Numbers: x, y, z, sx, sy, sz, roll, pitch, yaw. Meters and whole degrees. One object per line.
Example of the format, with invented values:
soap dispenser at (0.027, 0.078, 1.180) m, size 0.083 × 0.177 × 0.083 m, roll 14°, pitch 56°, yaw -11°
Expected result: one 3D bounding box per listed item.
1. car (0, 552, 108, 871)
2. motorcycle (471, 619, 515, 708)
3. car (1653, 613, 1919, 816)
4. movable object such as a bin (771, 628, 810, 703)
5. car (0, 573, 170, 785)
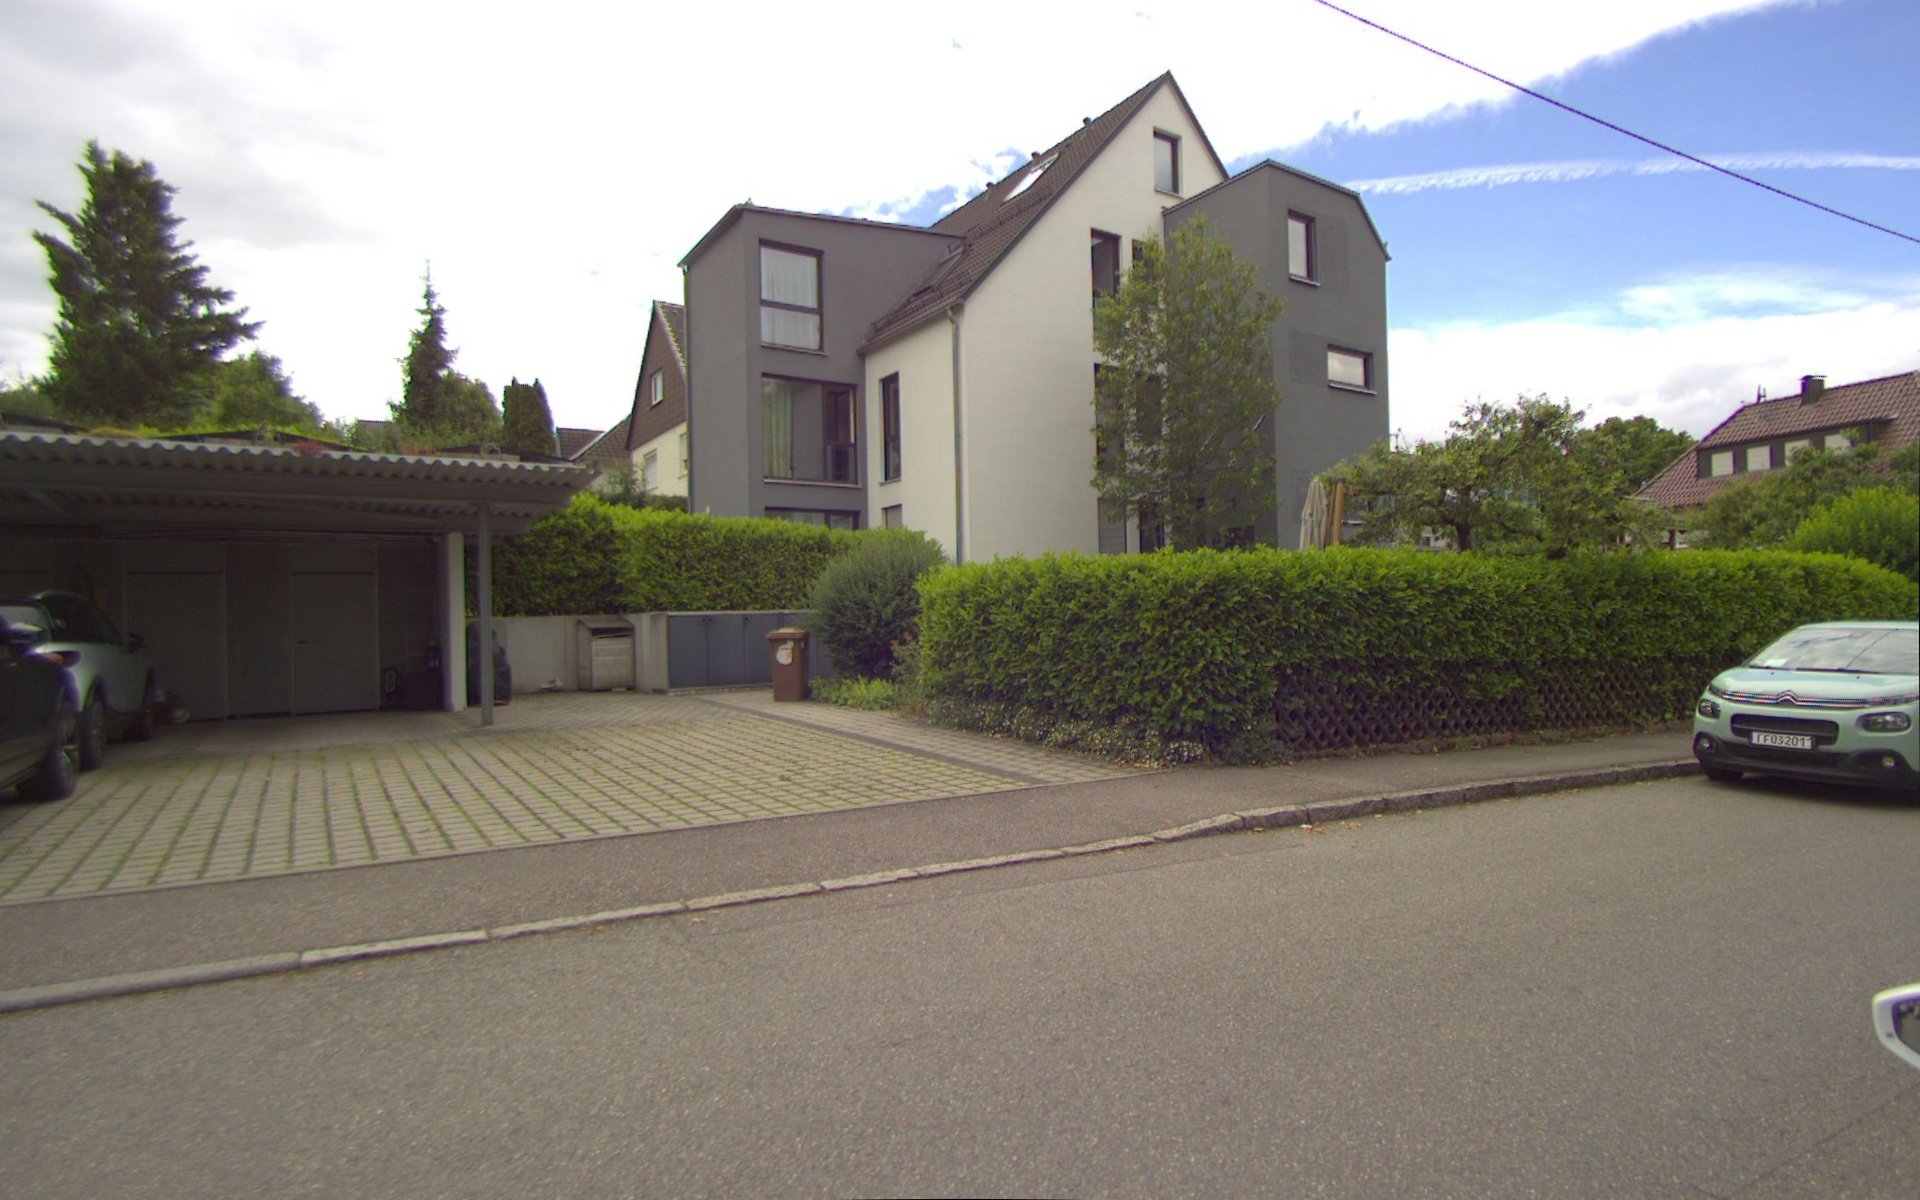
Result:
car at (-6.550, 0.620, 5.725) m, size 1.979 × 1.719 × 4.589 m, roll 1°, pitch -2°, yaw -33°
motorcycle at (-7.358, 0.963, 15.813) m, size 0.525 × 1.318 × 1.474 m, roll 1°, pitch -1°, yaw -29°
car at (8.443, 0.905, 9.324) m, size 3.966 × 1.520 × 1.776 m, roll 1°, pitch -1°, yaw -29°
movable object such as a bin at (-2.502, 0.960, 14.855) m, size 0.517 × 1.081 × 0.407 m, roll 0°, pitch -2°, yaw -4°
car at (-9.198, 0.712, 9.758) m, size 1.979 × 1.720 × 4.098 m, roll -2°, pitch -1°, yaw -33°
